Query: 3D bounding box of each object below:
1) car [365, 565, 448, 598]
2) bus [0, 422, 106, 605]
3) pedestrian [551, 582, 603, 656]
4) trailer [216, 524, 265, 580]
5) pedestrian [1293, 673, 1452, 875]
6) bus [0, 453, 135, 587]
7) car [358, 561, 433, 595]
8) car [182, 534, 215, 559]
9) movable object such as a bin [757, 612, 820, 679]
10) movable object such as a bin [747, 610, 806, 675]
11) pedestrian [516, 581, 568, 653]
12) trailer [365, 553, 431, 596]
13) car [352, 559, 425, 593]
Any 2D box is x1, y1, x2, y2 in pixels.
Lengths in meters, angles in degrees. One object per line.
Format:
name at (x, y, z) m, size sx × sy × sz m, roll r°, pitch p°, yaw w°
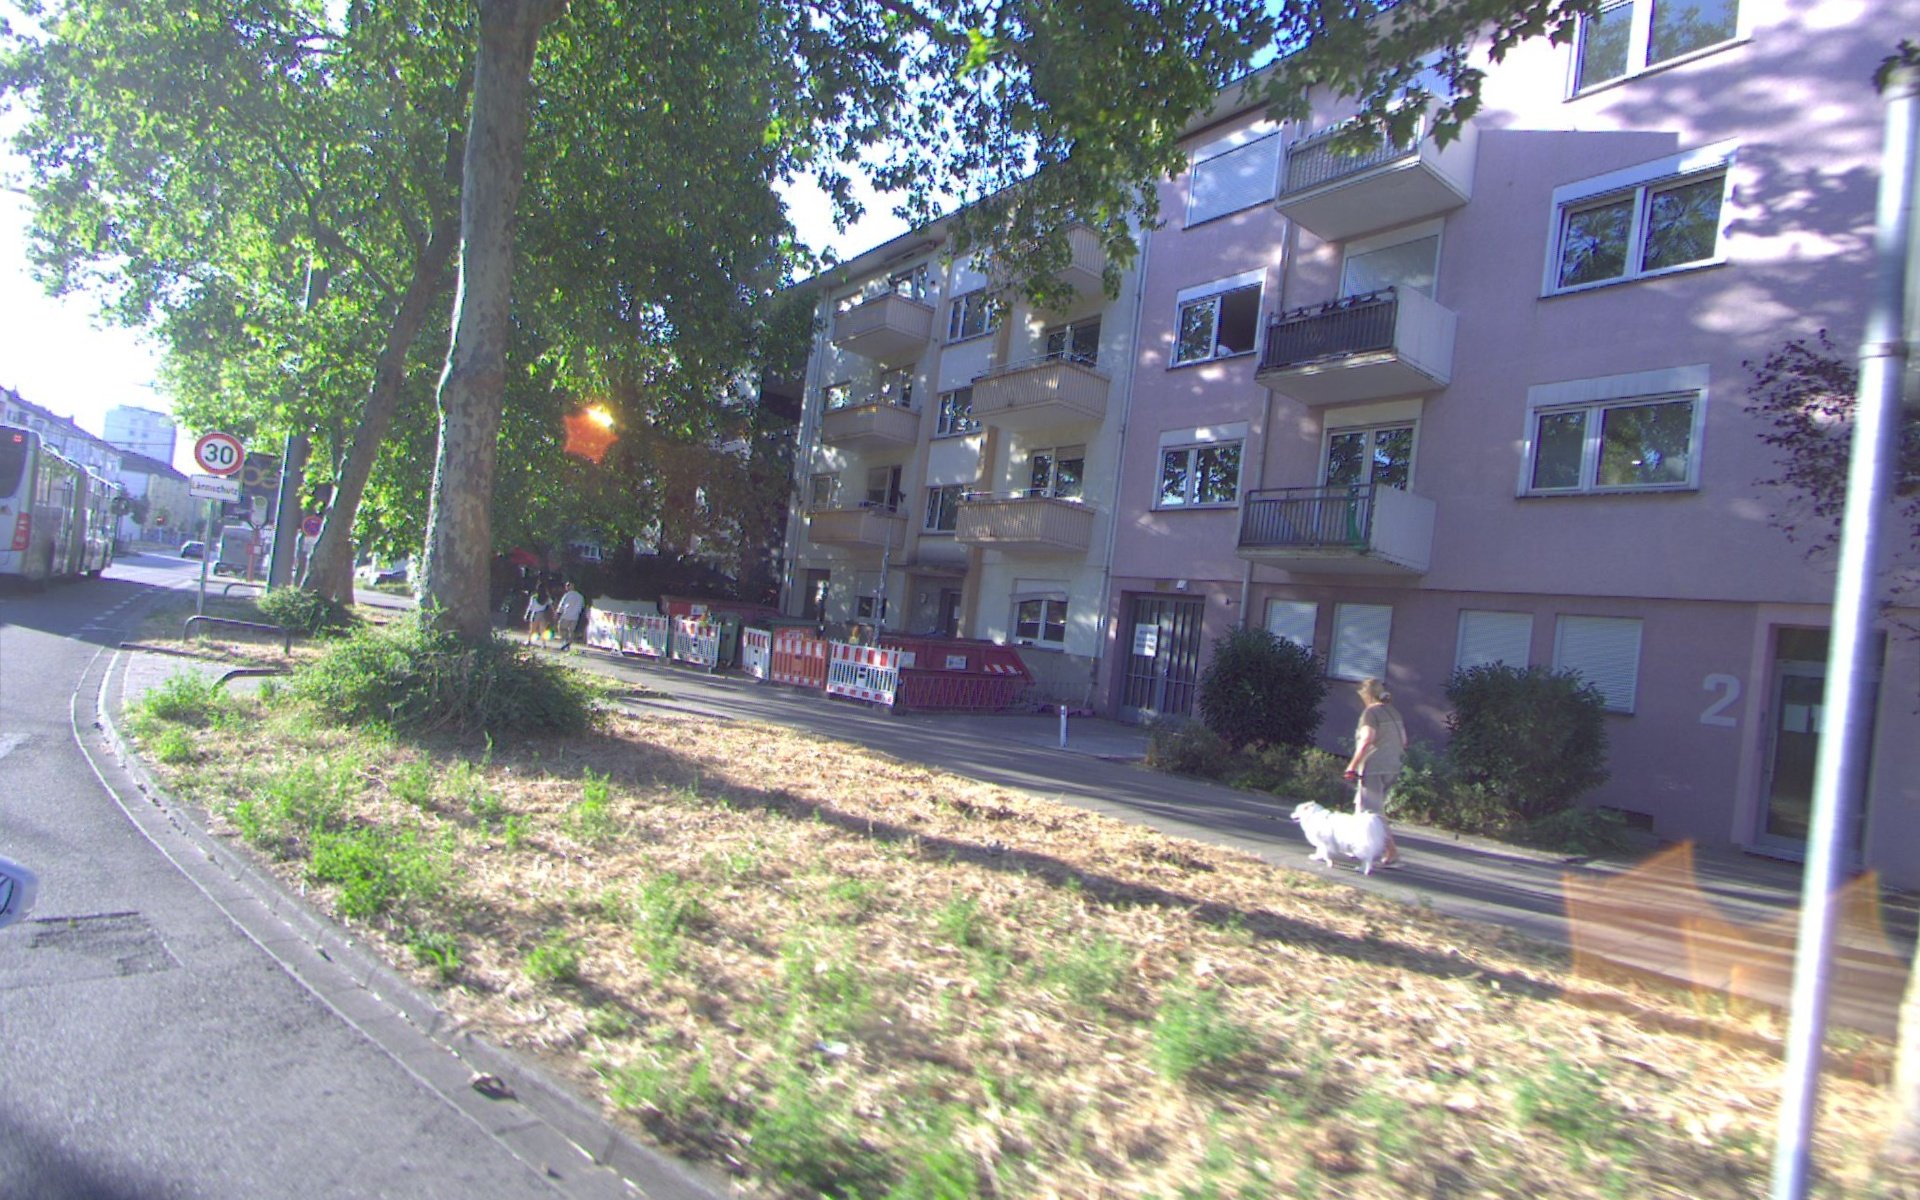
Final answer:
car at (-31.593, -1.048, 57.449) m, size 3.898 × 1.351 × 1.691 m, roll 8°, pitch -2°, yaw -35°
bus at (-20.783, -1.907, 21.658) m, size 2.720 × 3.175 × 10.596 m, roll 8°, pitch -2°, yaw -37°
pedestrian at (-9.367, 0.464, 24.616) m, size 0.787 × 1.686 × 0.807 m, roll 8°, pitch -1°, yaw -40°
trailer at (-37.677, -2.502, 52.712) m, size 1.822 × 2.588 × 3.288 m, roll 7°, pitch -2°, yaw -35°
pedestrian at (3.437, 1.424, 8.391) m, size 0.787 × 1.491 × 0.807 m, roll 8°, pitch -1°, yaw -40°
bus at (-26.507, -2.275, 29.493) m, size 2.694 × 3.143 × 8.894 m, roll 8°, pitch -2°, yaw -36°
car at (-35.929, -1.405, 64.041) m, size 3.899 × 1.655 × 1.690 m, roll 8°, pitch -2°, yaw -36°
car at (-68.482, -4.802, 90.492) m, size 1.982 × 1.836 × 3.964 m, roll 8°, pitch -2°, yaw -34°
movable object such as a bin at (-4.174, 1.095, 24.486) m, size 1.279 × 1.451 × 0.837 m, roll 8°, pitch -1°, yaw -16°
movable object such as a bin at (-4.625, 1.073, 25.405) m, size 1.277 × 1.451 × 0.839 m, roll 7°, pitch -1°, yaw -9°
pedestrian at (-10.004, 0.413, 24.059) m, size 0.787 × 1.590 × 0.807 m, roll 8°, pitch -1°, yaw -40°
trailer at (-33.242, -1.485, 59.518) m, size 3.047 × 2.093 × 1.862 m, roll 9°, pitch -2°, yaw -34°
car at (-37.403, -1.550, 65.858) m, size 3.899 × 1.656 × 1.690 m, roll 8°, pitch -2°, yaw -36°
